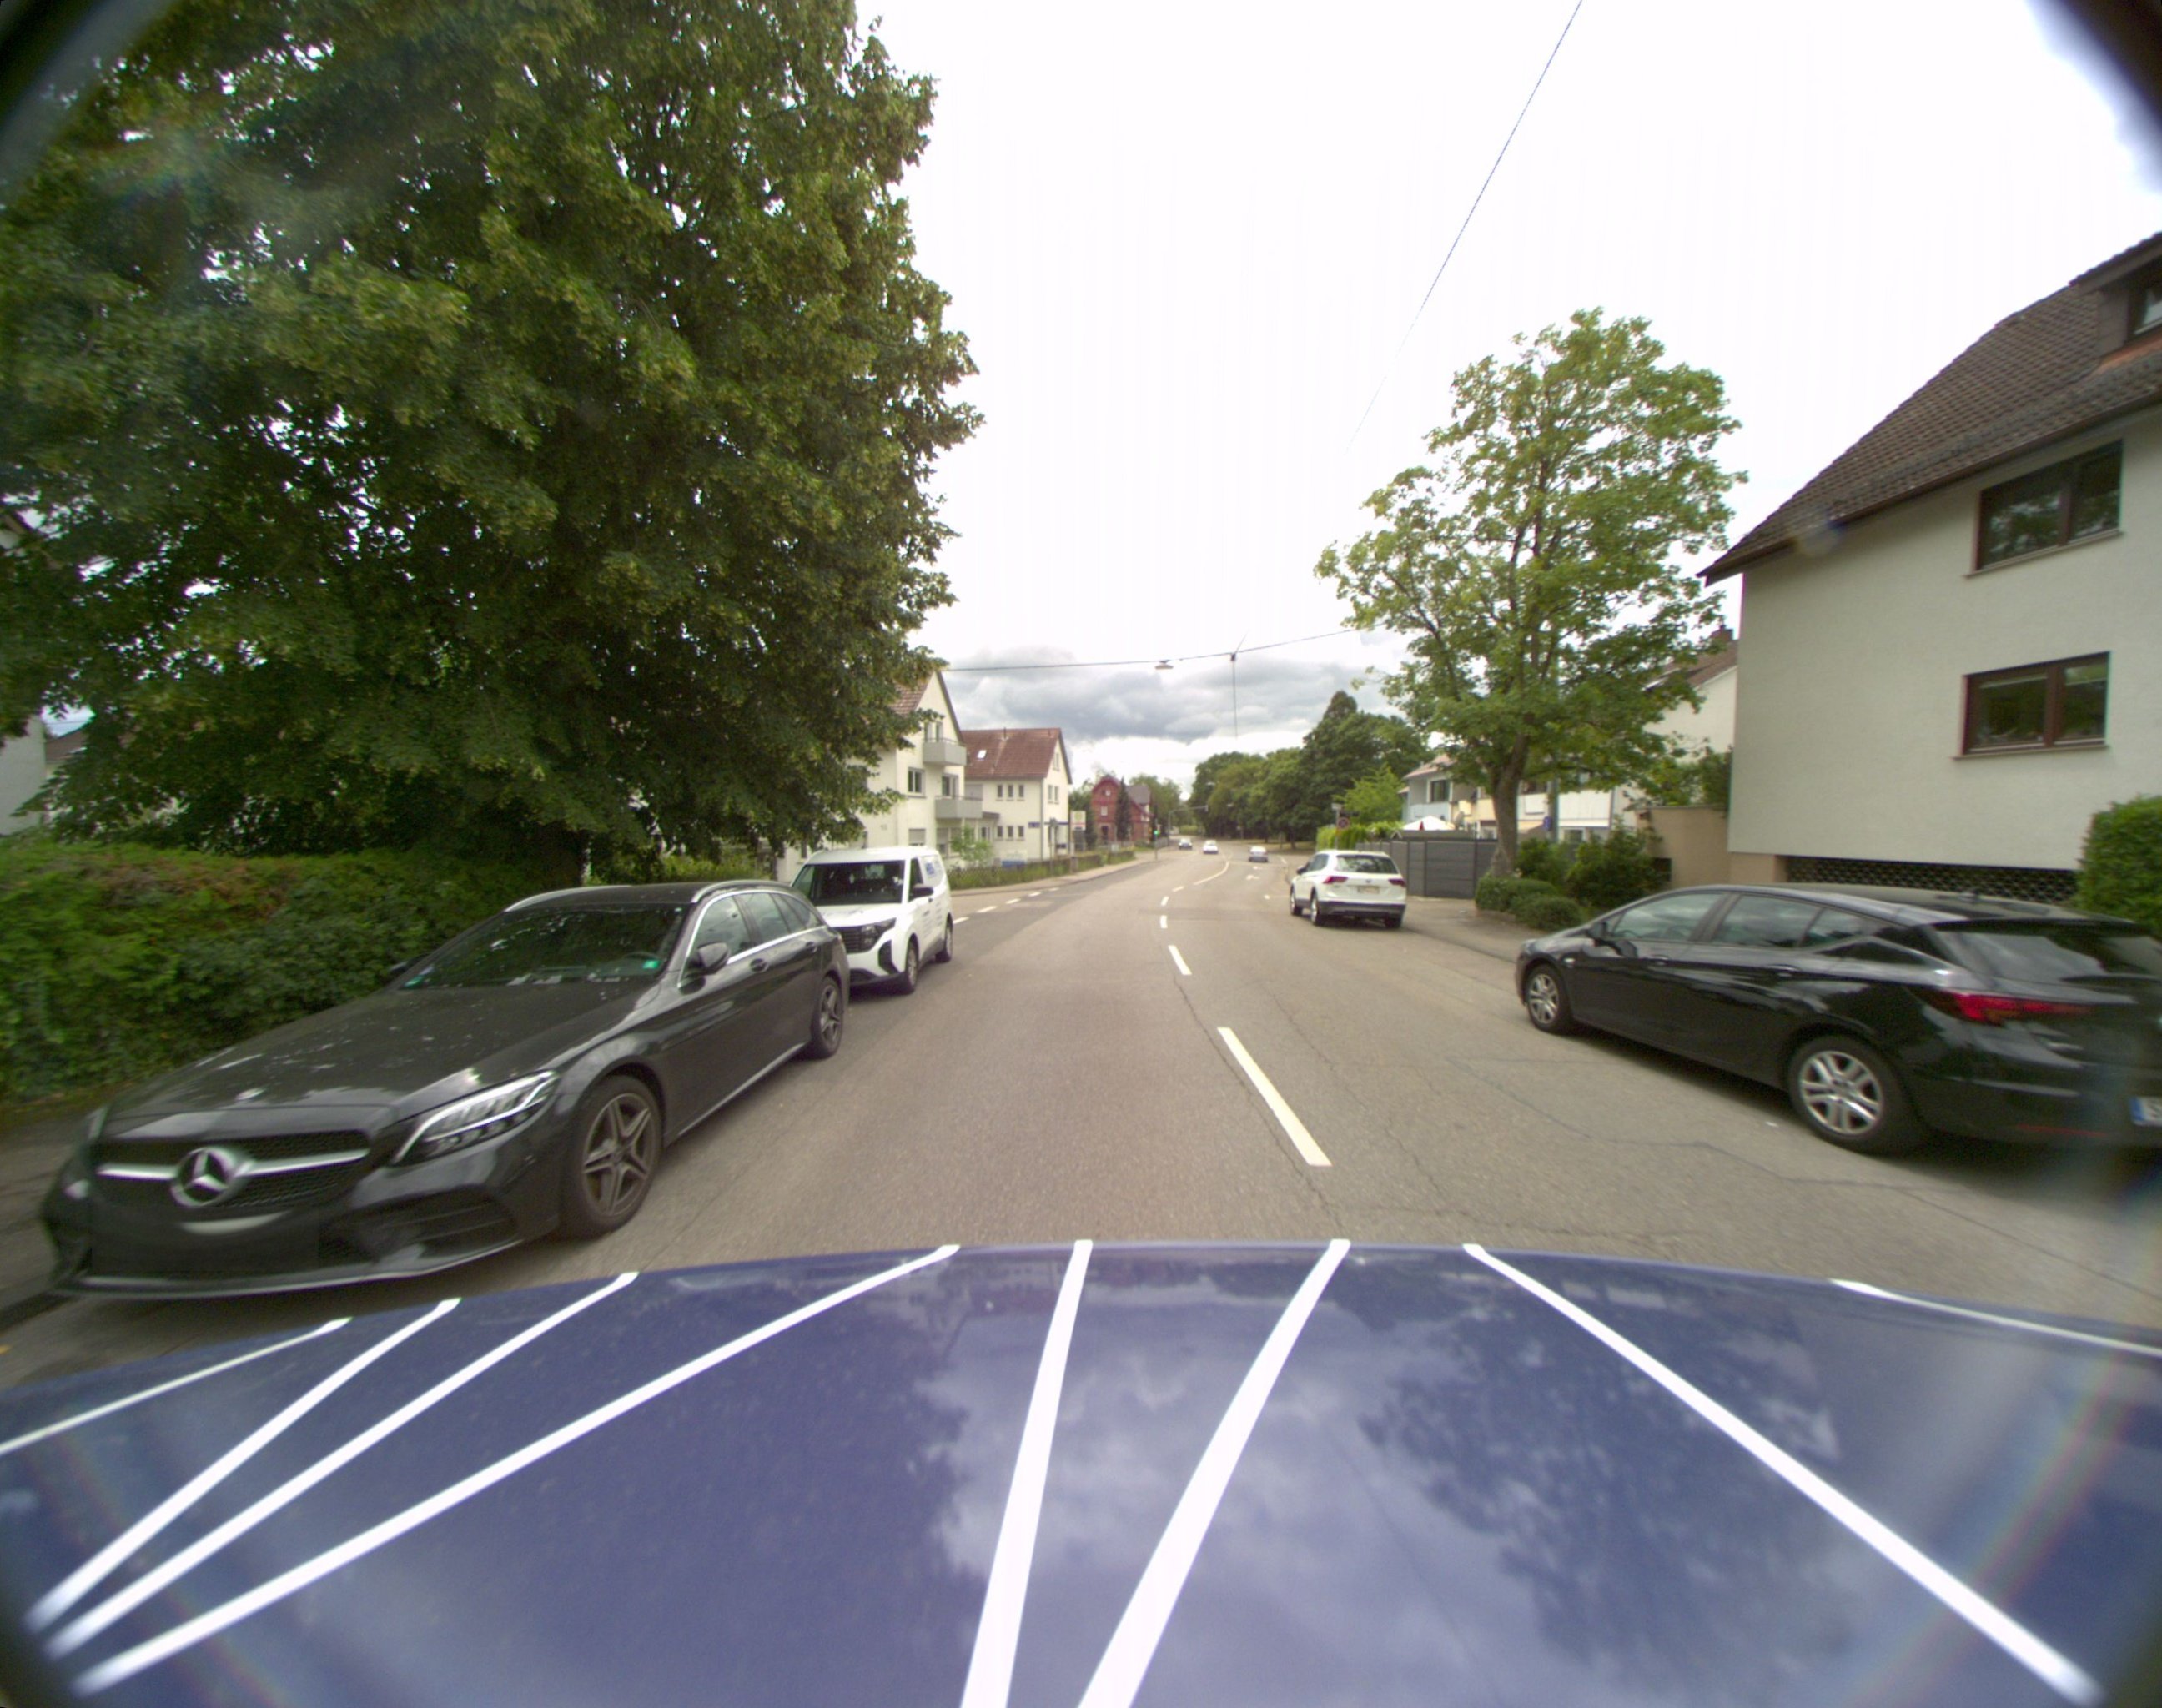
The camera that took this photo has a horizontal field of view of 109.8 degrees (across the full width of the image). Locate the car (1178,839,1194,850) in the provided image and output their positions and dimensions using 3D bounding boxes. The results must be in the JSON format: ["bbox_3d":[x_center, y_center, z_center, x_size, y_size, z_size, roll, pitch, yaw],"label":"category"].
[{"bbox_3d":[14.679,-1.344,106.067,1.924,1.510,4.001,0,3,10],"label":"car"}]

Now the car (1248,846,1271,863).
[{"bbox_3d":[16.571,0.043,70.434,1.714,1.347,4.088,3,2,18],"label":"car"}]

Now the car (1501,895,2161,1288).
[{"bbox_3d":[4.975,1.148,5.301,1.767,1.430,4.077,2,1,0],"label":"car"}]

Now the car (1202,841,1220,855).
[{"bbox_3d":[15.653,-0.749,91.539,1.779,1.510,3.557,-2,3,4],"label":"car"}]

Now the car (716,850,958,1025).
[{"bbox_3d":[-2.906,0.874,10.132,1.842,1.764,4.316,-3,0,-1],"label":"car"}]

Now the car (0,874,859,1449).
[{"bbox_3d":[-3.001,0.951,4.486,1.998,1.470,4.619,0,1,0],"label":"car"}]

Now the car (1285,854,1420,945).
[{"bbox_3d":[6.058,0.917,17.552,1.853,1.704,4.576,2,1,6],"label":"car"}]
